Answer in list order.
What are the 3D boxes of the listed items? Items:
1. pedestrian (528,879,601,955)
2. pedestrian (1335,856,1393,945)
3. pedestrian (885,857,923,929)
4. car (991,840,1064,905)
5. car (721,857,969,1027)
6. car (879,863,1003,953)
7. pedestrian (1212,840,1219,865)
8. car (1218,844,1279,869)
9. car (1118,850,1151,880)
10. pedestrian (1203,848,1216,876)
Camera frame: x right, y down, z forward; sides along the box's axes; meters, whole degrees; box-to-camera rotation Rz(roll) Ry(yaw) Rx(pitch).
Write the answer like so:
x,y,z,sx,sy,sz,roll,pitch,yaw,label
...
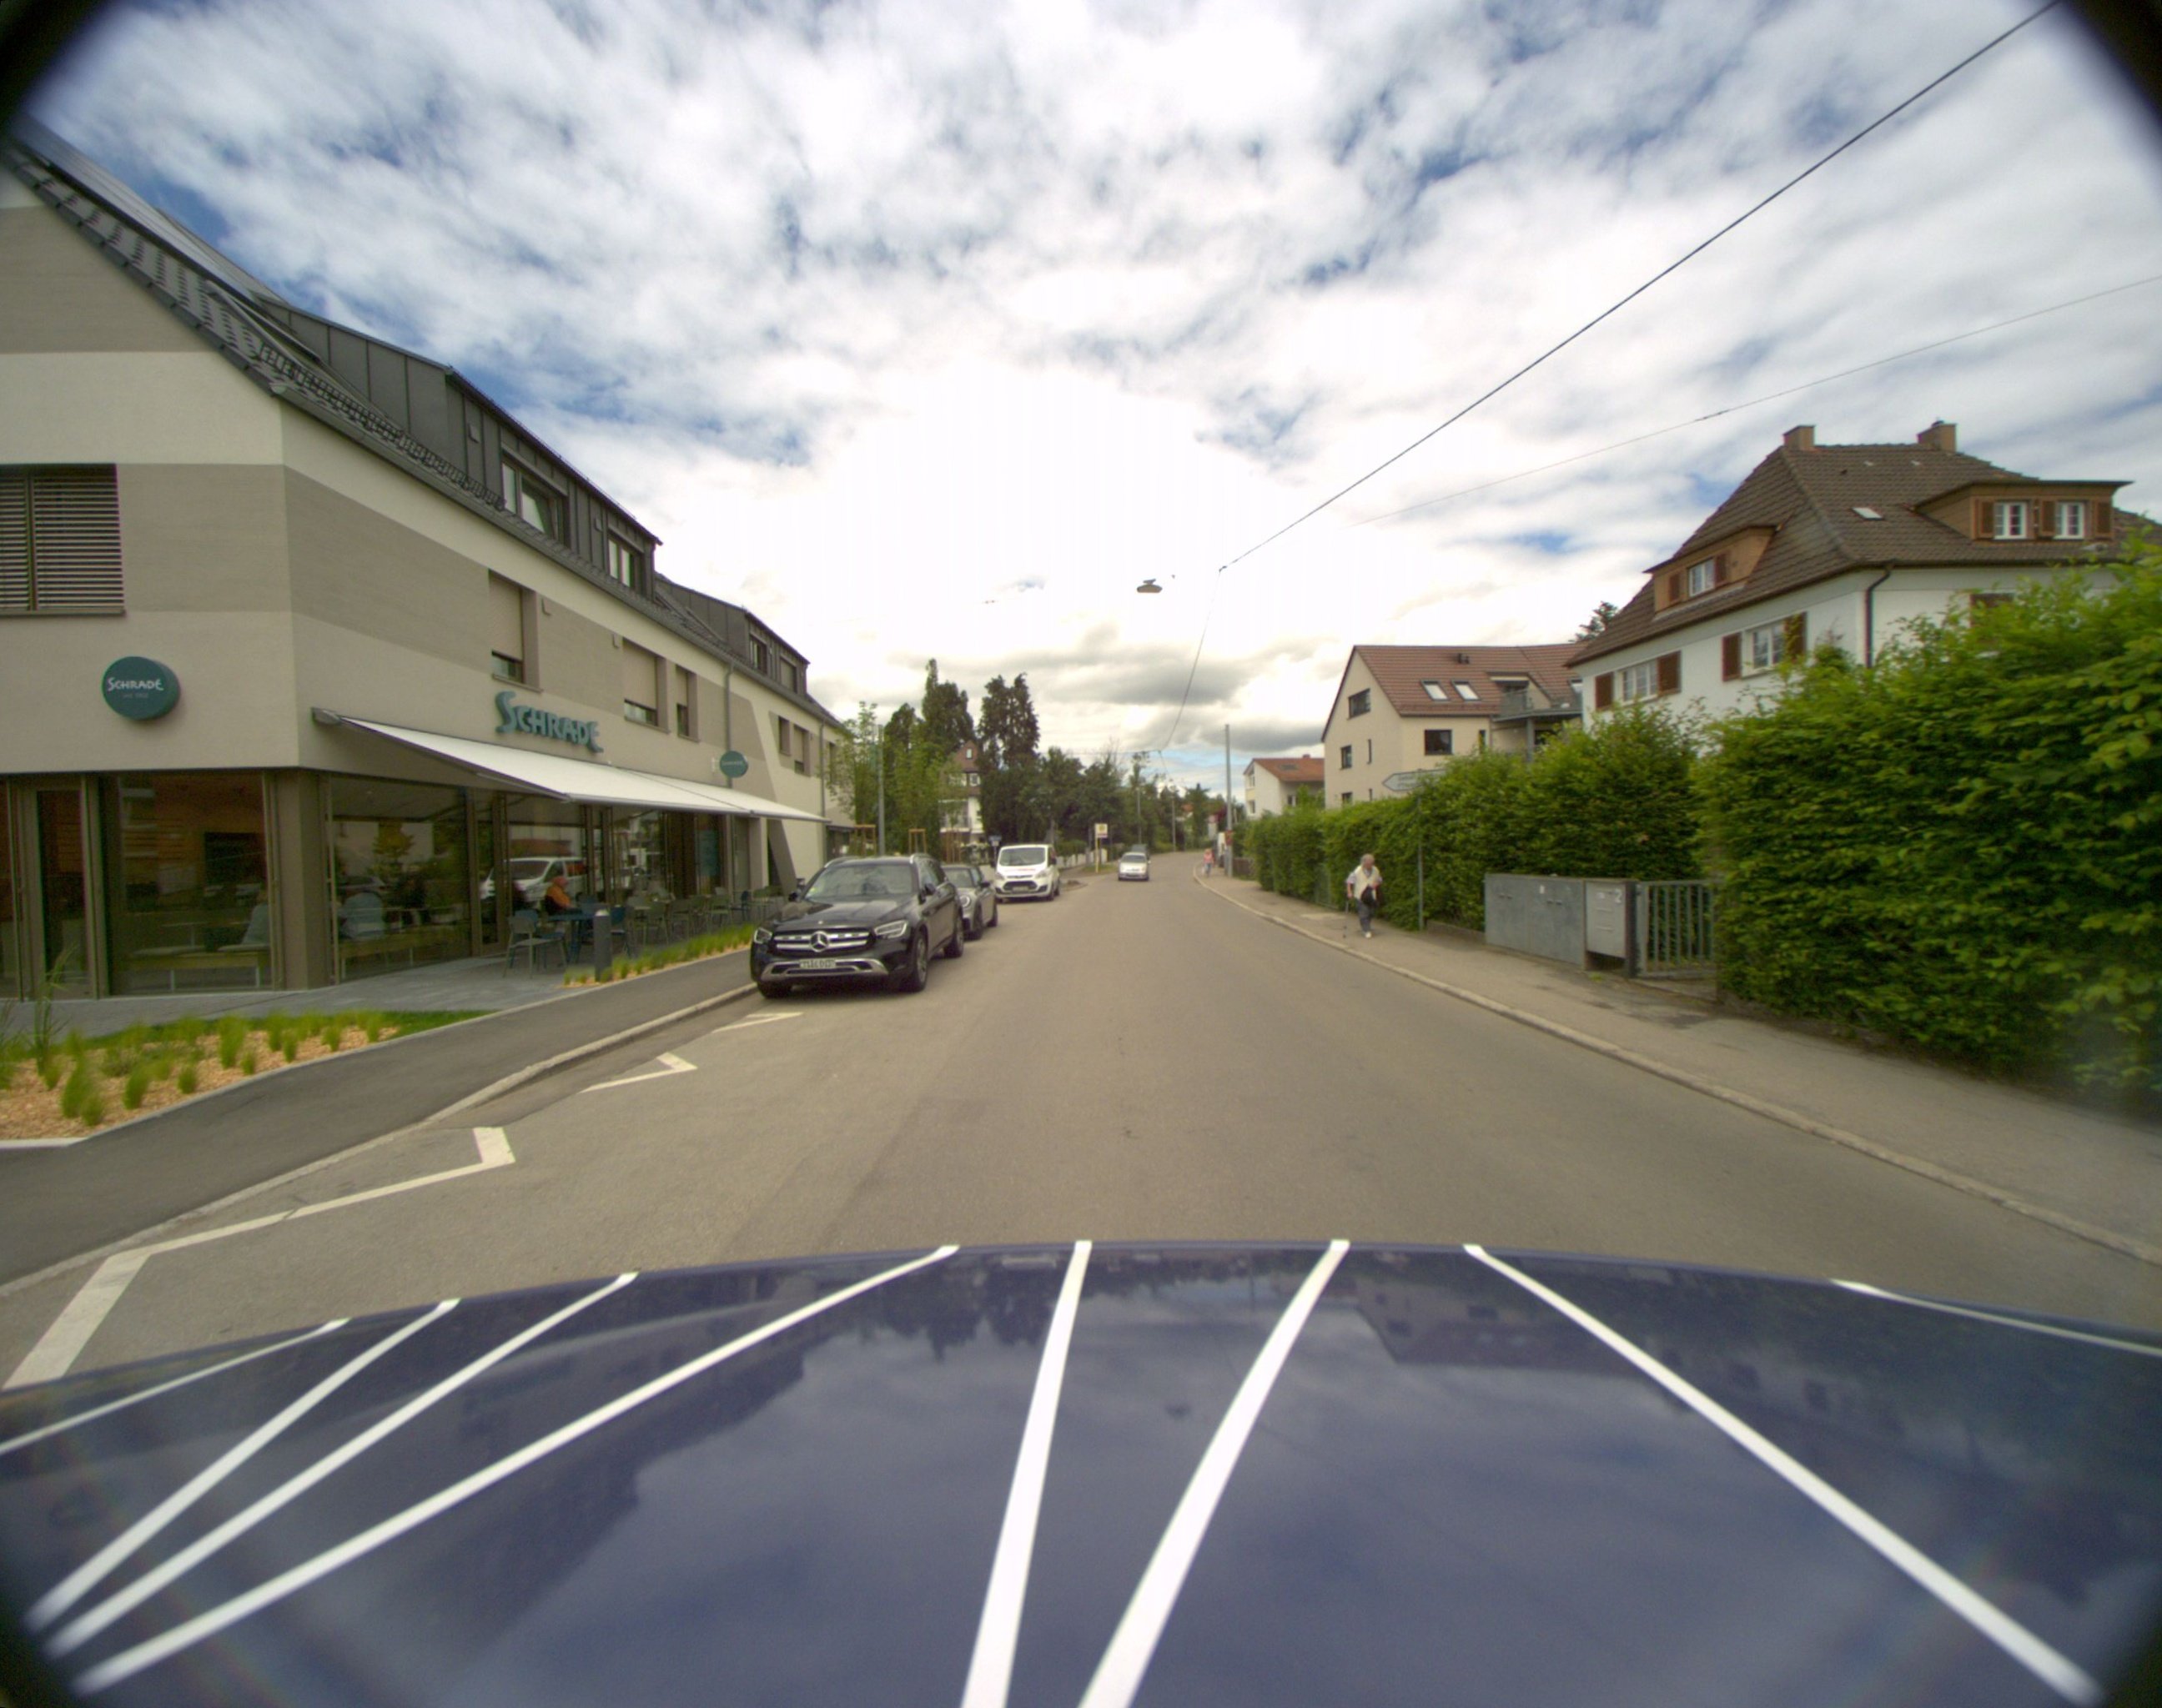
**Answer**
x,y,z,sx,sy,sz,roll,pitch,yaw,label
-8.888,1.071,13.095,0.753,1.231,0.691,-2,1,-4,pedestrian
5.104,0.817,13.721,0.749,1.522,0.544,-3,1,-11,pedestrian
-4.152,0.901,17.862,0.678,1.659,0.660,-1,1,2,pedestrian
-1.795,0.581,27.538,1.998,2.002,5.567,-3,1,2,car
-2.786,0.928,10.138,1.852,1.627,4.465,-3,1,0,car
-2.706,0.992,15.512,1.711,1.444,3.835,-3,1,1,car
10.817,-0.133,61.022,0.535,1.940,0.528,-1,1,12,pedestrian
12.076,0.172,54.929,3.996,1.718,1.885,-2,1,4,car
3.036,0.590,43.836,1.725,1.559,3.927,-2,1,2,car
7.519,0.460,44.441,0.619,1.590,0.608,-2,1,1,pedestrian
